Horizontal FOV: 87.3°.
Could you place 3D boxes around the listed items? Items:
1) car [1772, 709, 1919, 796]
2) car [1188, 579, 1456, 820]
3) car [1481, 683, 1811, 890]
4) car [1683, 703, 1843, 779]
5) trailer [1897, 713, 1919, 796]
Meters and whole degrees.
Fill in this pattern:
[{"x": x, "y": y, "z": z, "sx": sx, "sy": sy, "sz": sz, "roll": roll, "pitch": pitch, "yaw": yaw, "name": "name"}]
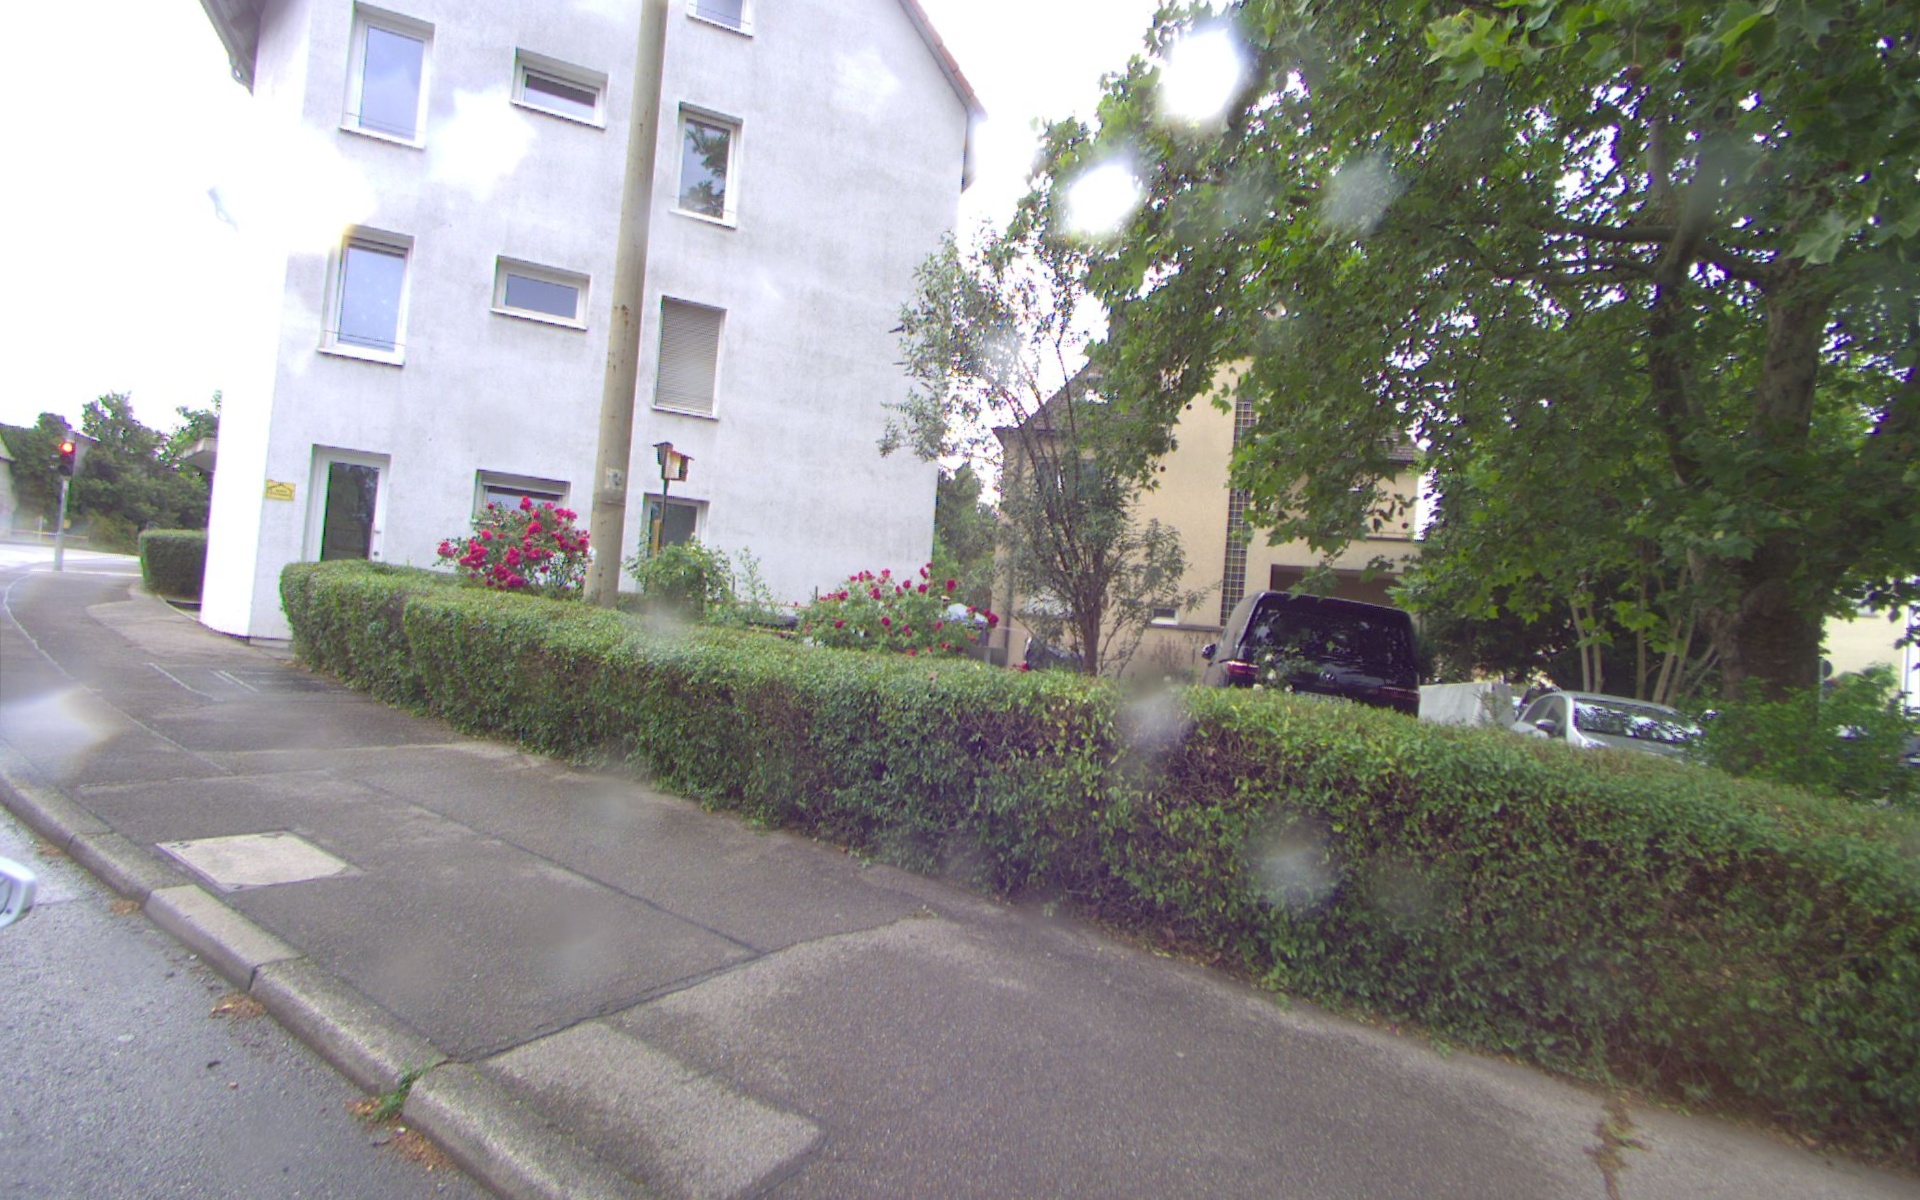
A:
[{"x": 25.262, "y": 4.215, "z": 27.996, "sx": 1.962, "sy": 1.861, "sz": 4.584, "roll": 6, "pitch": -2, "yaw": 9, "name": "car"}, {"x": 3.758, "y": 0.992, "z": 11.309, "sx": 1.962, "sy": 1.955, "sz": 4.419, "roll": 6, "pitch": -1, "yaw": 11, "name": "car"}, {"x": 7.386, "y": 1.880, "z": 11.352, "sx": 1.788, "sy": 1.599, "sz": 4.003, "roll": 6, "pitch": -2, "yaw": 16, "name": "car"}, {"x": 26.345, "y": 4.557, "z": 33.241, "sx": 1.962, "sy": 1.861, "sz": 4.584, "roll": 6, "pitch": -2, "yaw": 9, "name": "car"}, {"x": 24.718, "y": 3.926, "z": 23.982, "sx": 1.640, "sy": 2.037, "sz": 3.494, "roll": 6, "pitch": -1, "yaw": 8, "name": "trailer"}]
